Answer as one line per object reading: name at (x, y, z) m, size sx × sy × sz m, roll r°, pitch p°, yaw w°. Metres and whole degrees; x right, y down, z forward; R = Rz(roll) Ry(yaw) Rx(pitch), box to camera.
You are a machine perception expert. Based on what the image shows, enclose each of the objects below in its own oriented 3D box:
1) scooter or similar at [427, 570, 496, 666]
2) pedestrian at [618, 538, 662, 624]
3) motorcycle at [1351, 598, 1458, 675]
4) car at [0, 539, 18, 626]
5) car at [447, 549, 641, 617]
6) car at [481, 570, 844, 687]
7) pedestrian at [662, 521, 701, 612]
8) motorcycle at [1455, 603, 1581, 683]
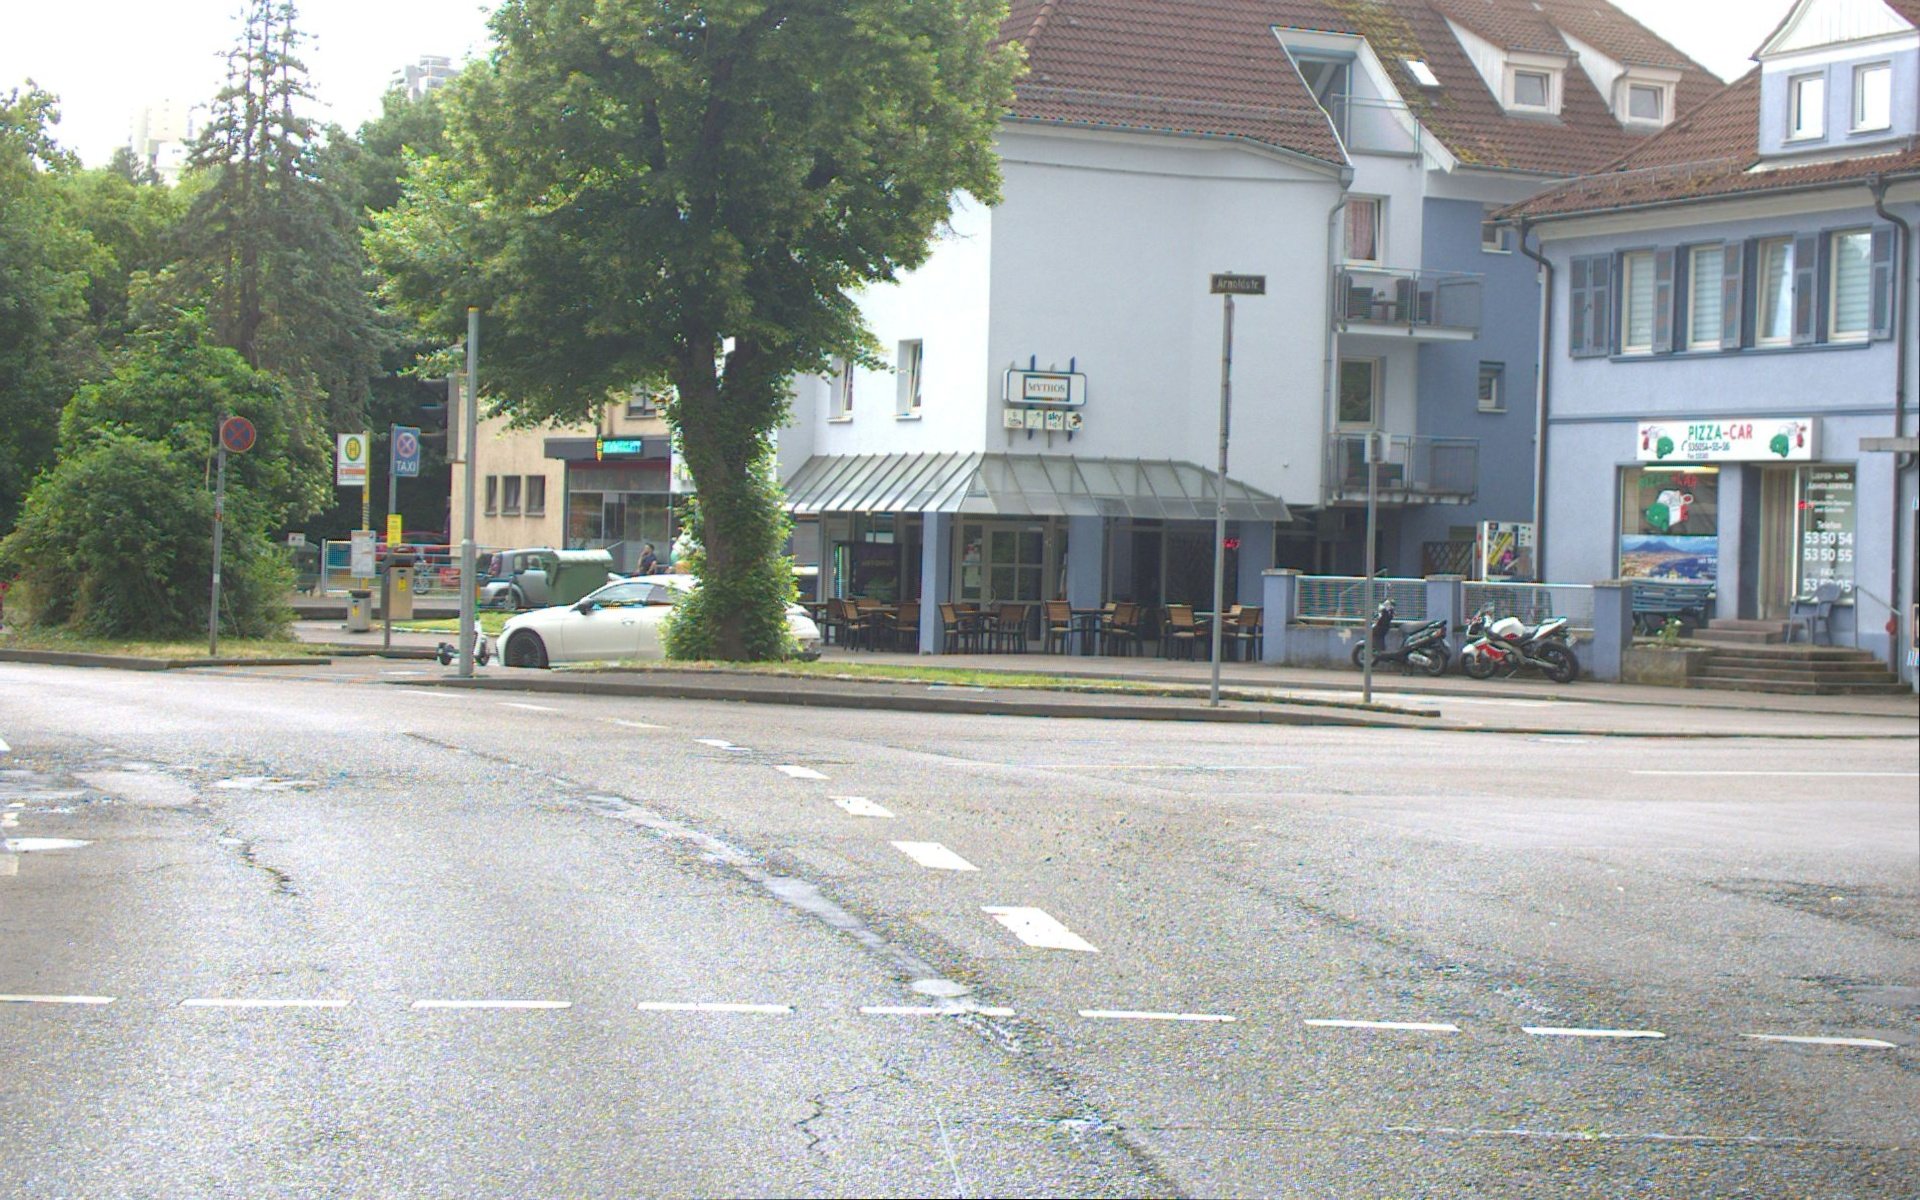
scooter or similar at (-6.233, 0.217, 43.014) m, size 0.442 × 1.171 × 1.437 m, roll 1°, pitch 1°, yaw 8°
pedestrian at (-7.587, -0.463, 81.487) m, size 0.837 × 2.007 × 1.056 m, roll 1°, pitch 1°, yaw -15°
motorcycle at (6.537, 0.527, 50.588) m, size 1.458 × 1.085 × 0.523 m, roll 1°, pitch 1°, yaw 35°
car at (-16.670, -0.306, 53.872) m, size 3.322 × 1.347 × 1.778 m, roll 1°, pitch 1°, yaw 27°
car at (-9.205, -0.379, 76.014) m, size 3.936 × 1.437 × 1.753 m, roll 1°, pitch 1°, yaw -20°
car at (-4.022, 0.353, 46.168) m, size 4.709 × 1.405 × 1.899 m, roll 2°, pitch 1°, yaw 35°
pedestrian at (-4.825, -0.578, 59.565) m, size 0.543 × 1.554 × 0.467 m, roll 1°, pitch 0°, yaw 13°
motorcycle at (7.920, 0.602, 48.825) m, size 1.628 × 1.085 × 0.626 m, roll 1°, pitch 1°, yaw 32°
